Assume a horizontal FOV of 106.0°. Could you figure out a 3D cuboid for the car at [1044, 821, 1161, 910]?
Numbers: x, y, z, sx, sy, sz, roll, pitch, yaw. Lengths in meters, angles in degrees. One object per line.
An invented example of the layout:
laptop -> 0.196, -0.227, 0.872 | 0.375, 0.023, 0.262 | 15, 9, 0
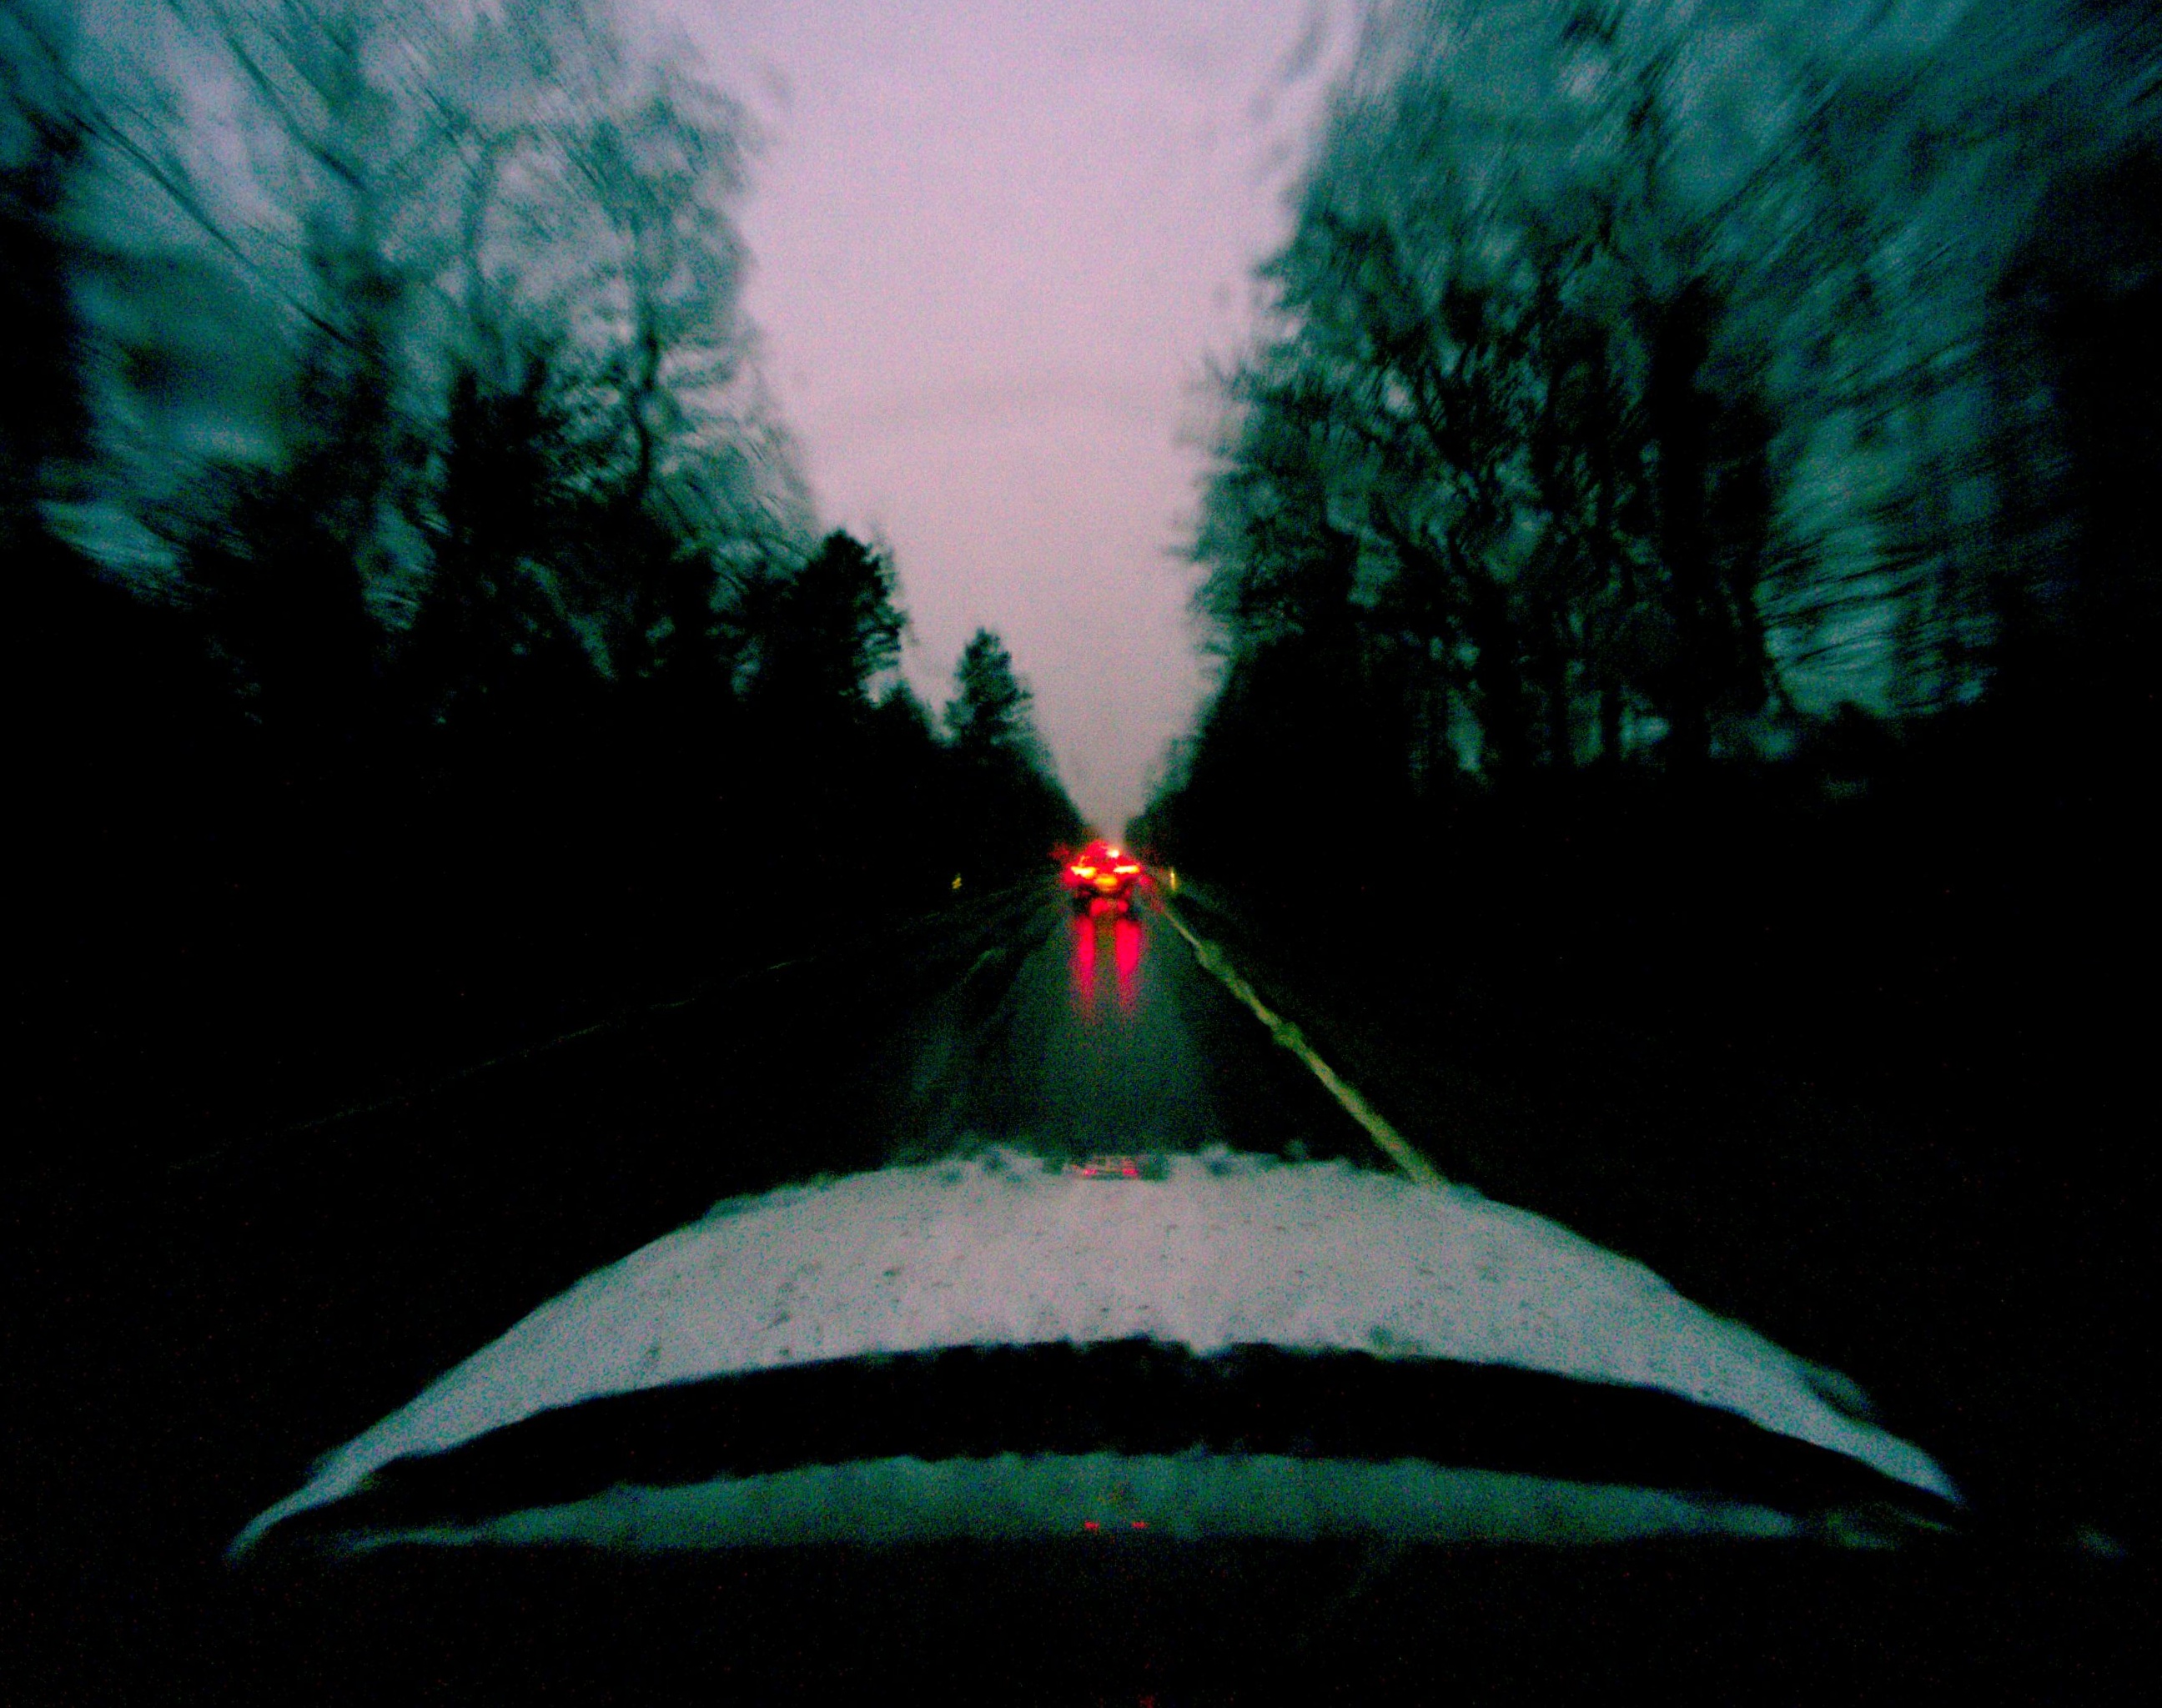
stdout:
car -> 0.715, 0.325, 25.528 | 3.171, 2.386, 6.640 | -1, 0, 2
